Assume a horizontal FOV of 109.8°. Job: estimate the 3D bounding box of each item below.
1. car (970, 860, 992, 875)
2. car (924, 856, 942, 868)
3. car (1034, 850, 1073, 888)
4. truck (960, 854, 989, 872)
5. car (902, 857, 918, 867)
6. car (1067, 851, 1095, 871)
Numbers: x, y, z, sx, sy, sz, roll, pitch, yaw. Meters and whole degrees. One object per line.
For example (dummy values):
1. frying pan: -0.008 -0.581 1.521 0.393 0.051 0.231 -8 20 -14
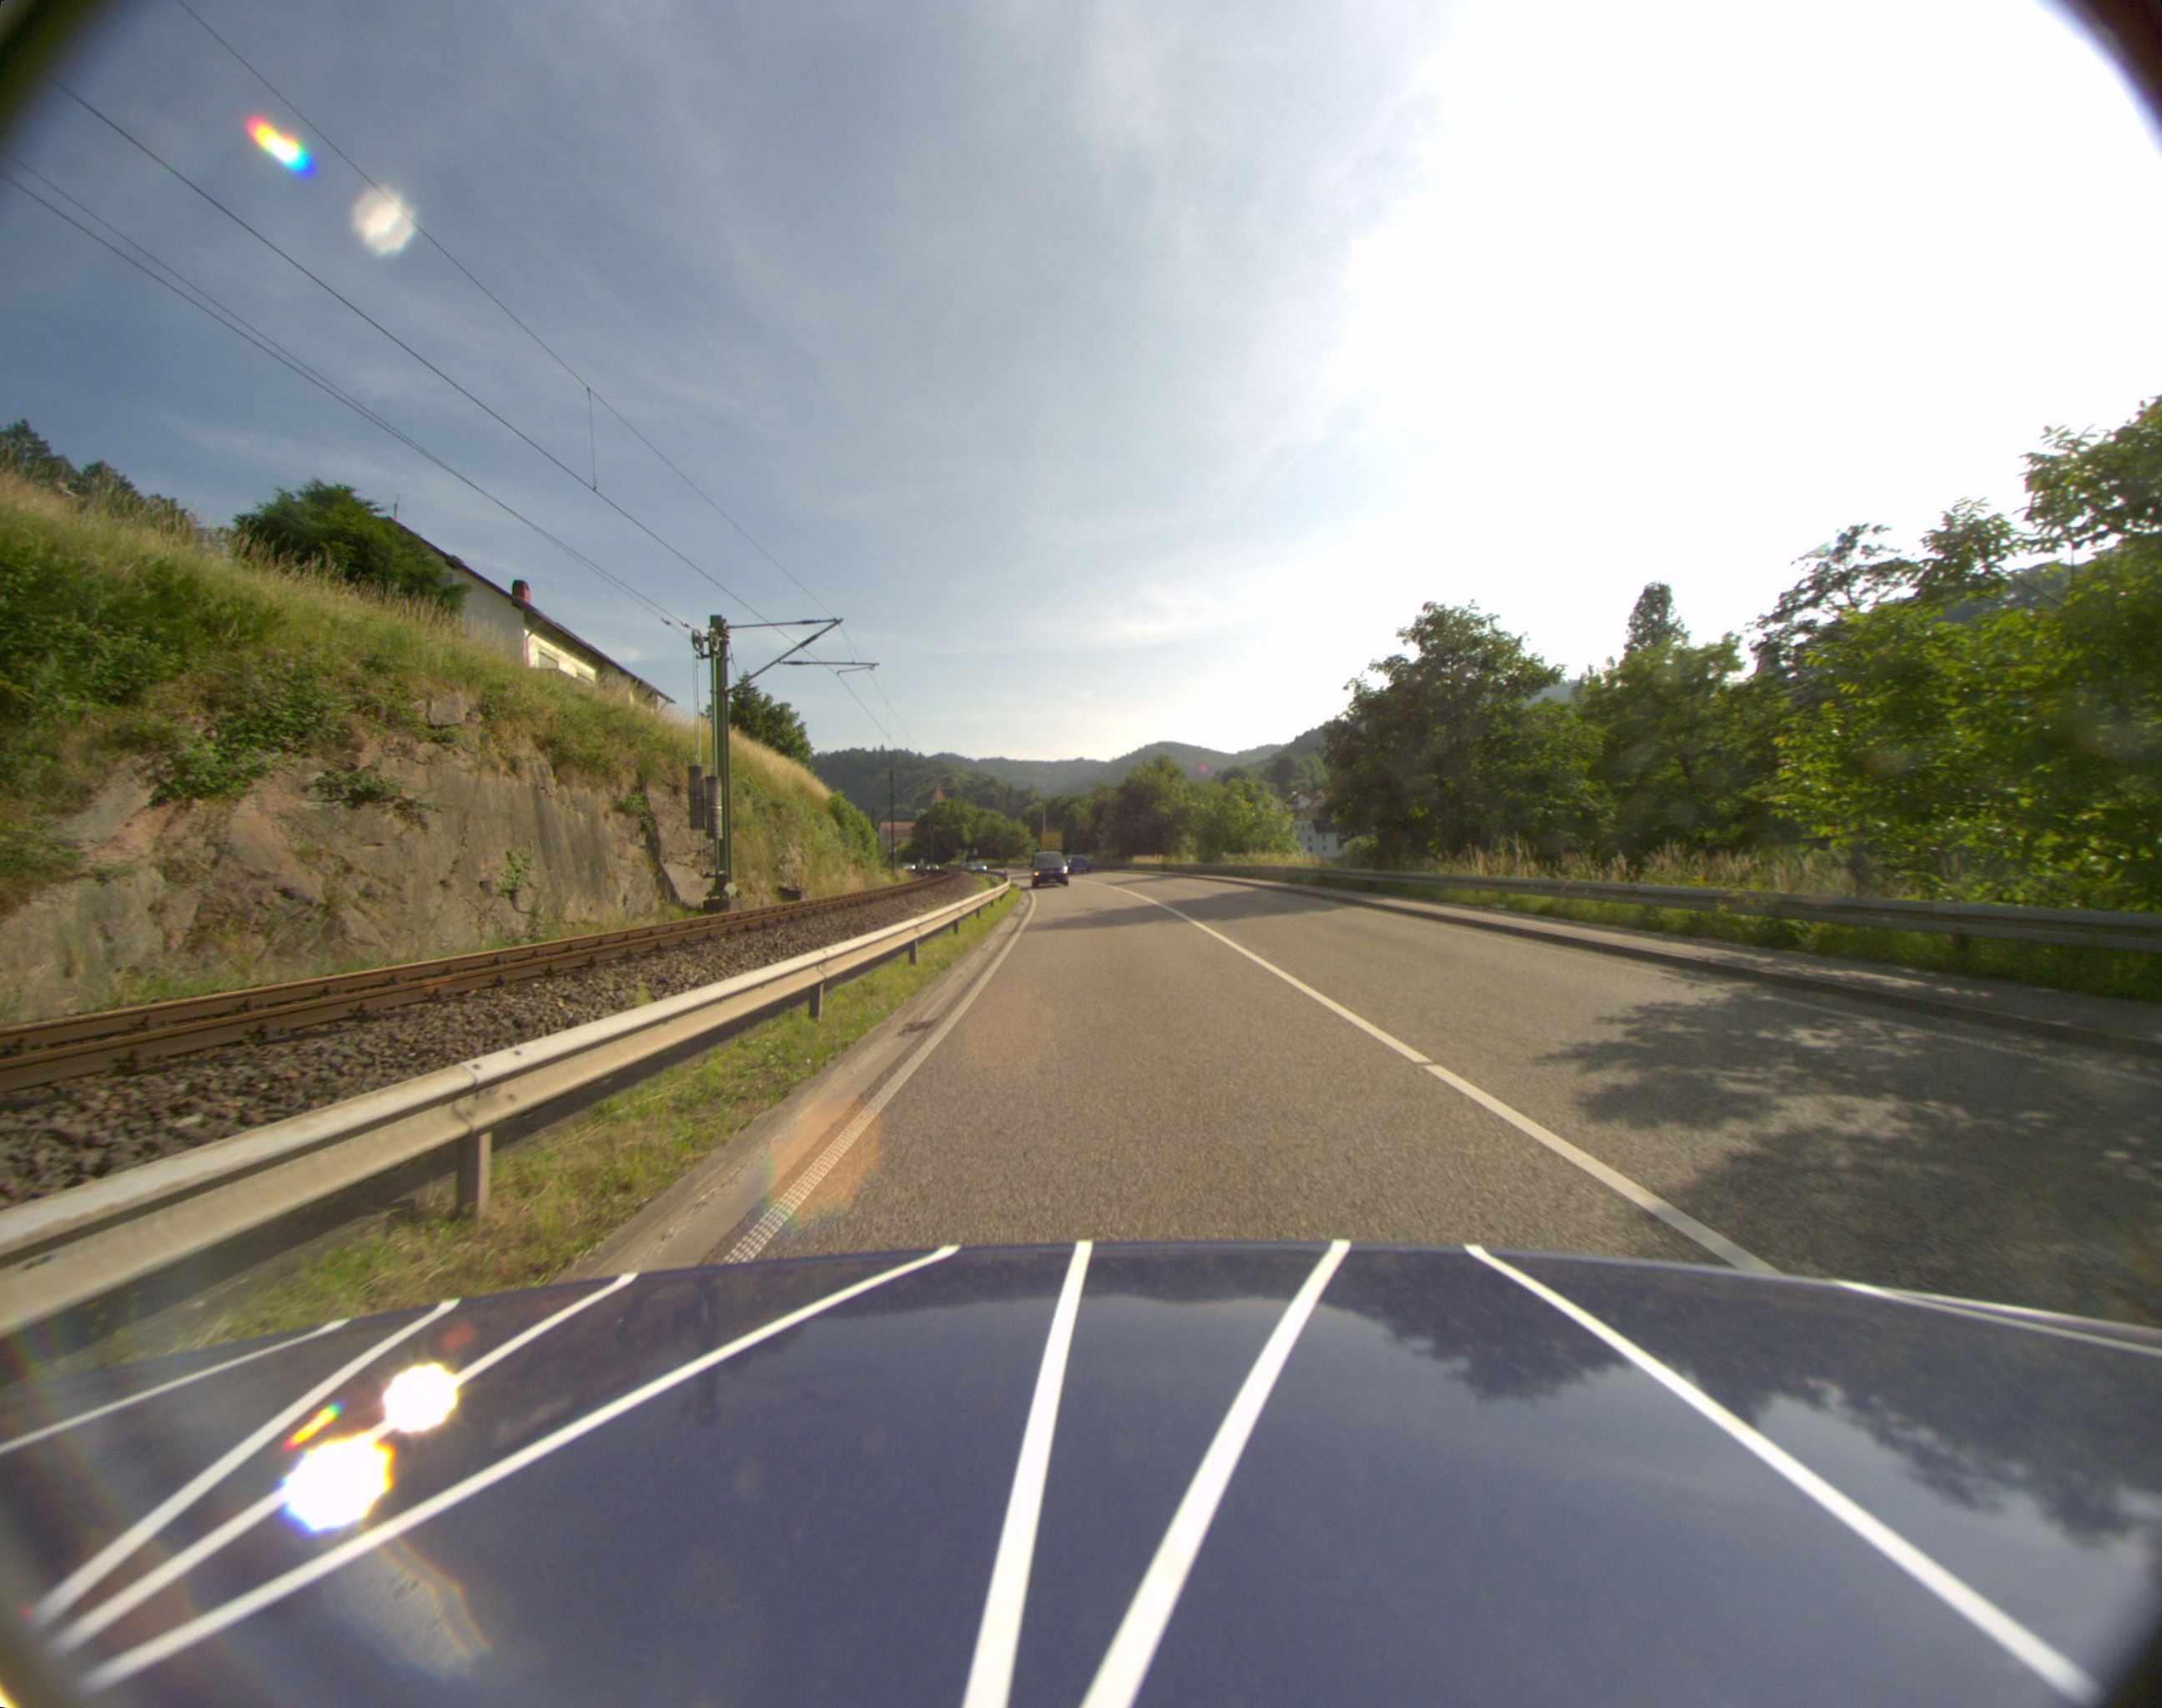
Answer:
1. car: -12.160 1.598 92.205 1.887 1.735 4.173 -2 0 -16
2. car: -23.756 1.303 121.979 1.888 1.735 4.171 -2 0 -22
3. car: -1.556 0.797 42.918 2.019 1.905 4.311 -3 0 -2
4. truck: -16.042 1.398 113.963 2.166 2.352 6.733 -5 1 -26
5. car: -31.004 1.539 137.859 1.889 1.735 4.170 -2 0 -26
6. car: -0.005 0.580 63.843 1.757 1.557 3.997 -2 0 -8
